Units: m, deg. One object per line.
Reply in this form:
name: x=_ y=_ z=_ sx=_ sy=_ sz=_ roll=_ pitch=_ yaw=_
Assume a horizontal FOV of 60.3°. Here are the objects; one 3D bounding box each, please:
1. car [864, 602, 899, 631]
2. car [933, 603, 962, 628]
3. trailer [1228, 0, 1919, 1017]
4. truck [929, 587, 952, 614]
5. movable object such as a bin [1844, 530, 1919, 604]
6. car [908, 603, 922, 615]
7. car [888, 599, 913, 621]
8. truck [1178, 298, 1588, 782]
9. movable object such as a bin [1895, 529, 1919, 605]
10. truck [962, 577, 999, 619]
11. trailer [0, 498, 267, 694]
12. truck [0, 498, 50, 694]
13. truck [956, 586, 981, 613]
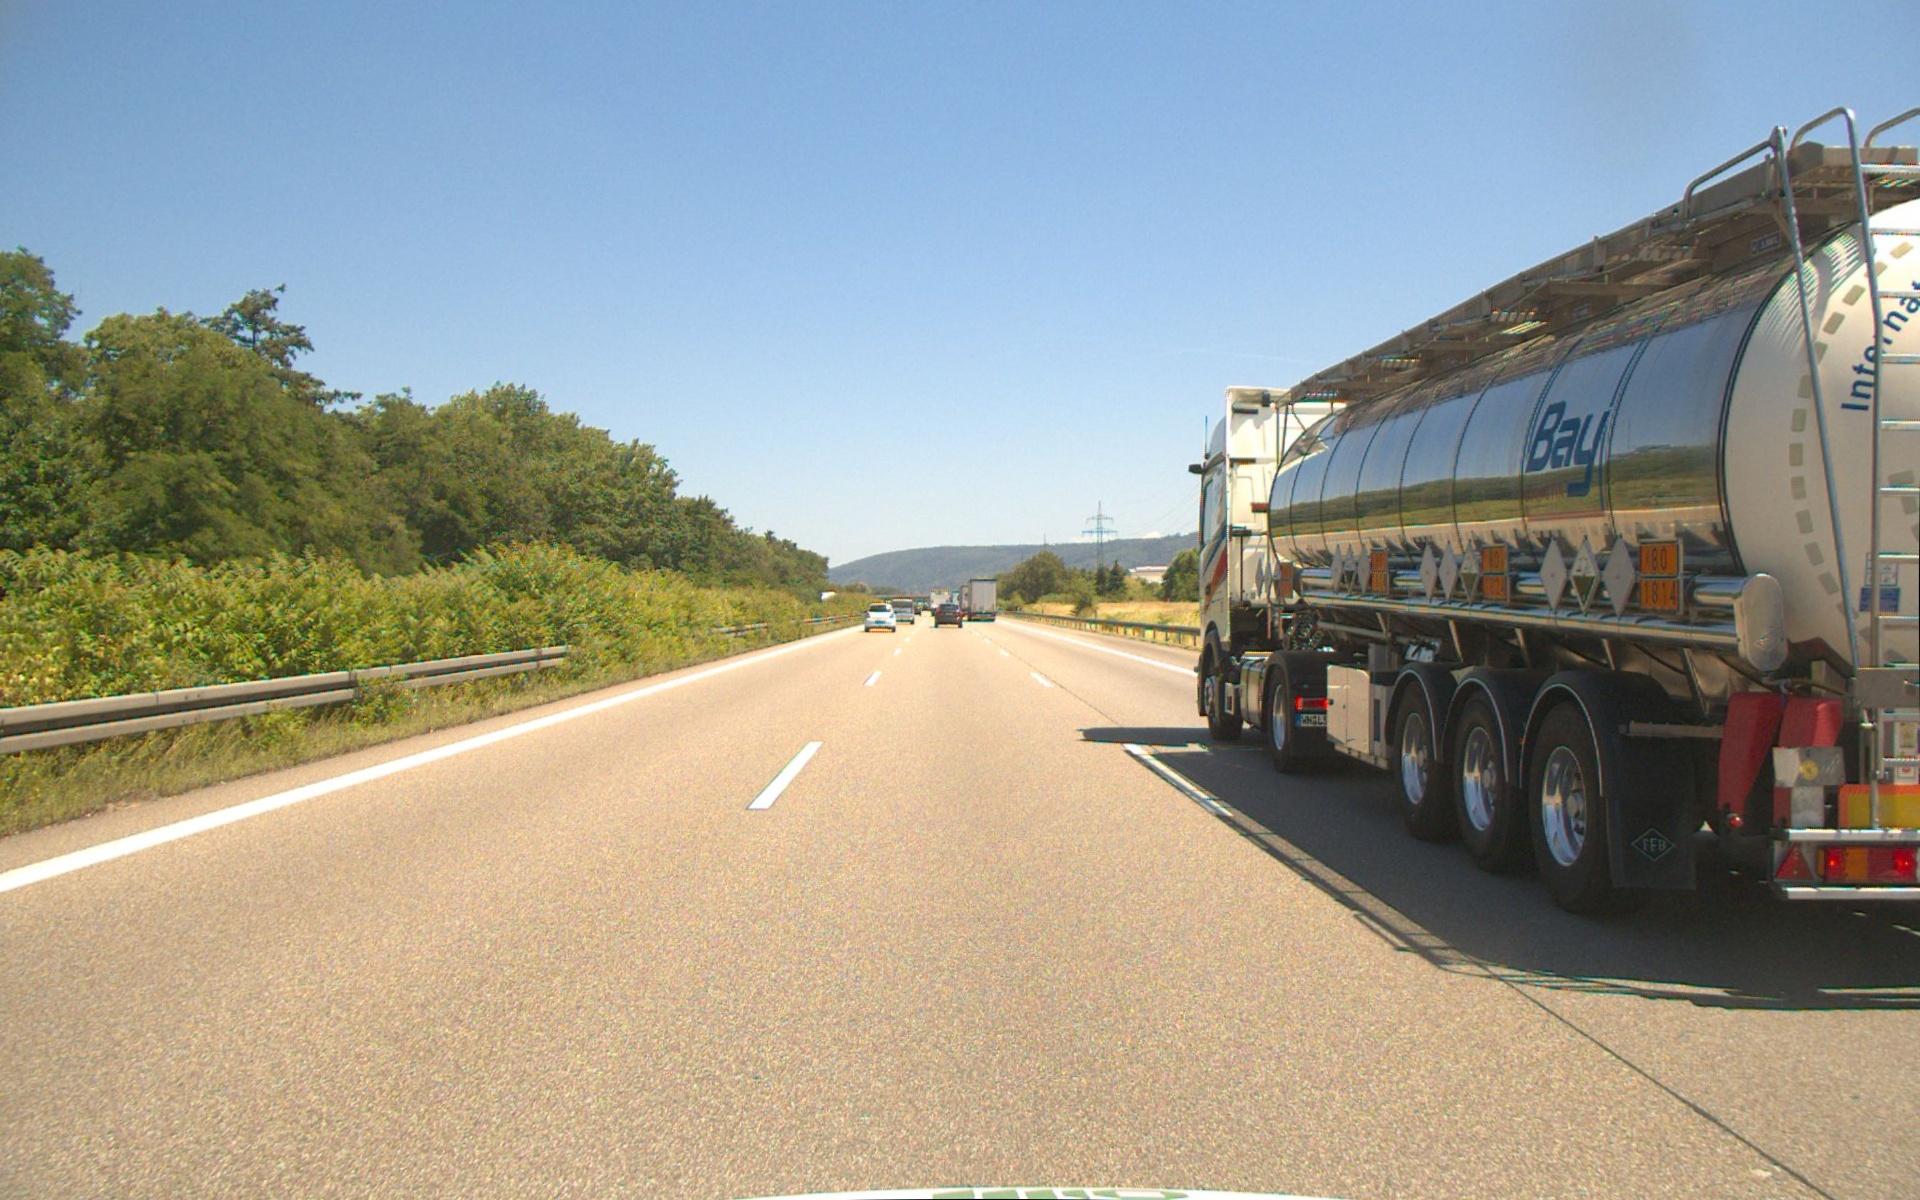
car: x=-4.261 y=0.878 z=90.151 sx=1.770 sy=1.494 sz=3.999 roll=1 pitch=0 yaw=-1
car: x=-0.842 y=1.029 z=111.272 sx=1.846 sy=1.542 sz=3.999 roll=1 pitch=0 yaw=-1
trailer: x=4.222 y=-0.510 z=11.765 sx=2.528 sy=4.145 sz=11.100 roll=1 pitch=0 yaw=-1
truck: x=-2.696 y=0.118 z=226.601 sx=3.034 sy=3.535 sz=11.539 roll=1 pitch=0 yaw=-1
movable object such as a bin: x=52.398 y=-1.872 z=87.758 sx=9.520 sy=3.754 sz=2.678 roll=-2 pitch=0 yaw=-1
car: x=-6.289 y=1.224 z=231.776 sx=1.814 sy=1.661 sz=3.999 roll=1 pitch=0 yaw=-1
car: x=-4.590 y=0.790 z=128.746 sx=1.814 sy=1.661 sz=3.999 roll=1 pitch=0 yaw=-1
truck: x=4.099 y=-0.520 z=17.556 sx=2.521 sy=4.143 sz=6.391 roll=1 pitch=0 yaw=-1
movable object such as a bin: x=52.495 y=-1.826 z=82.942 sx=9.516 sy=3.754 sz=2.633 roll=-2 pitch=0 yaw=1
truck: x=1.915 y=-0.168 z=162.970 sx=3.199 sy=3.925 sz=11.628 roll=1 pitch=0 yaw=-1
trailer: x=-19.659 y=-0.104 z=36.772 sx=2.537 sy=3.770 sz=13.688 roll=1 pitch=0 yaw=0
truck: x=-19.719 y=-0.095 z=29.994 sx=2.537 sy=3.770 sz=6.827 roll=1 pitch=0 yaw=0
truck: x=1.131 y=-0.073 z=221.639 sx=3.034 sy=3.535 sz=11.539 roll=1 pitch=0 yaw=-1
